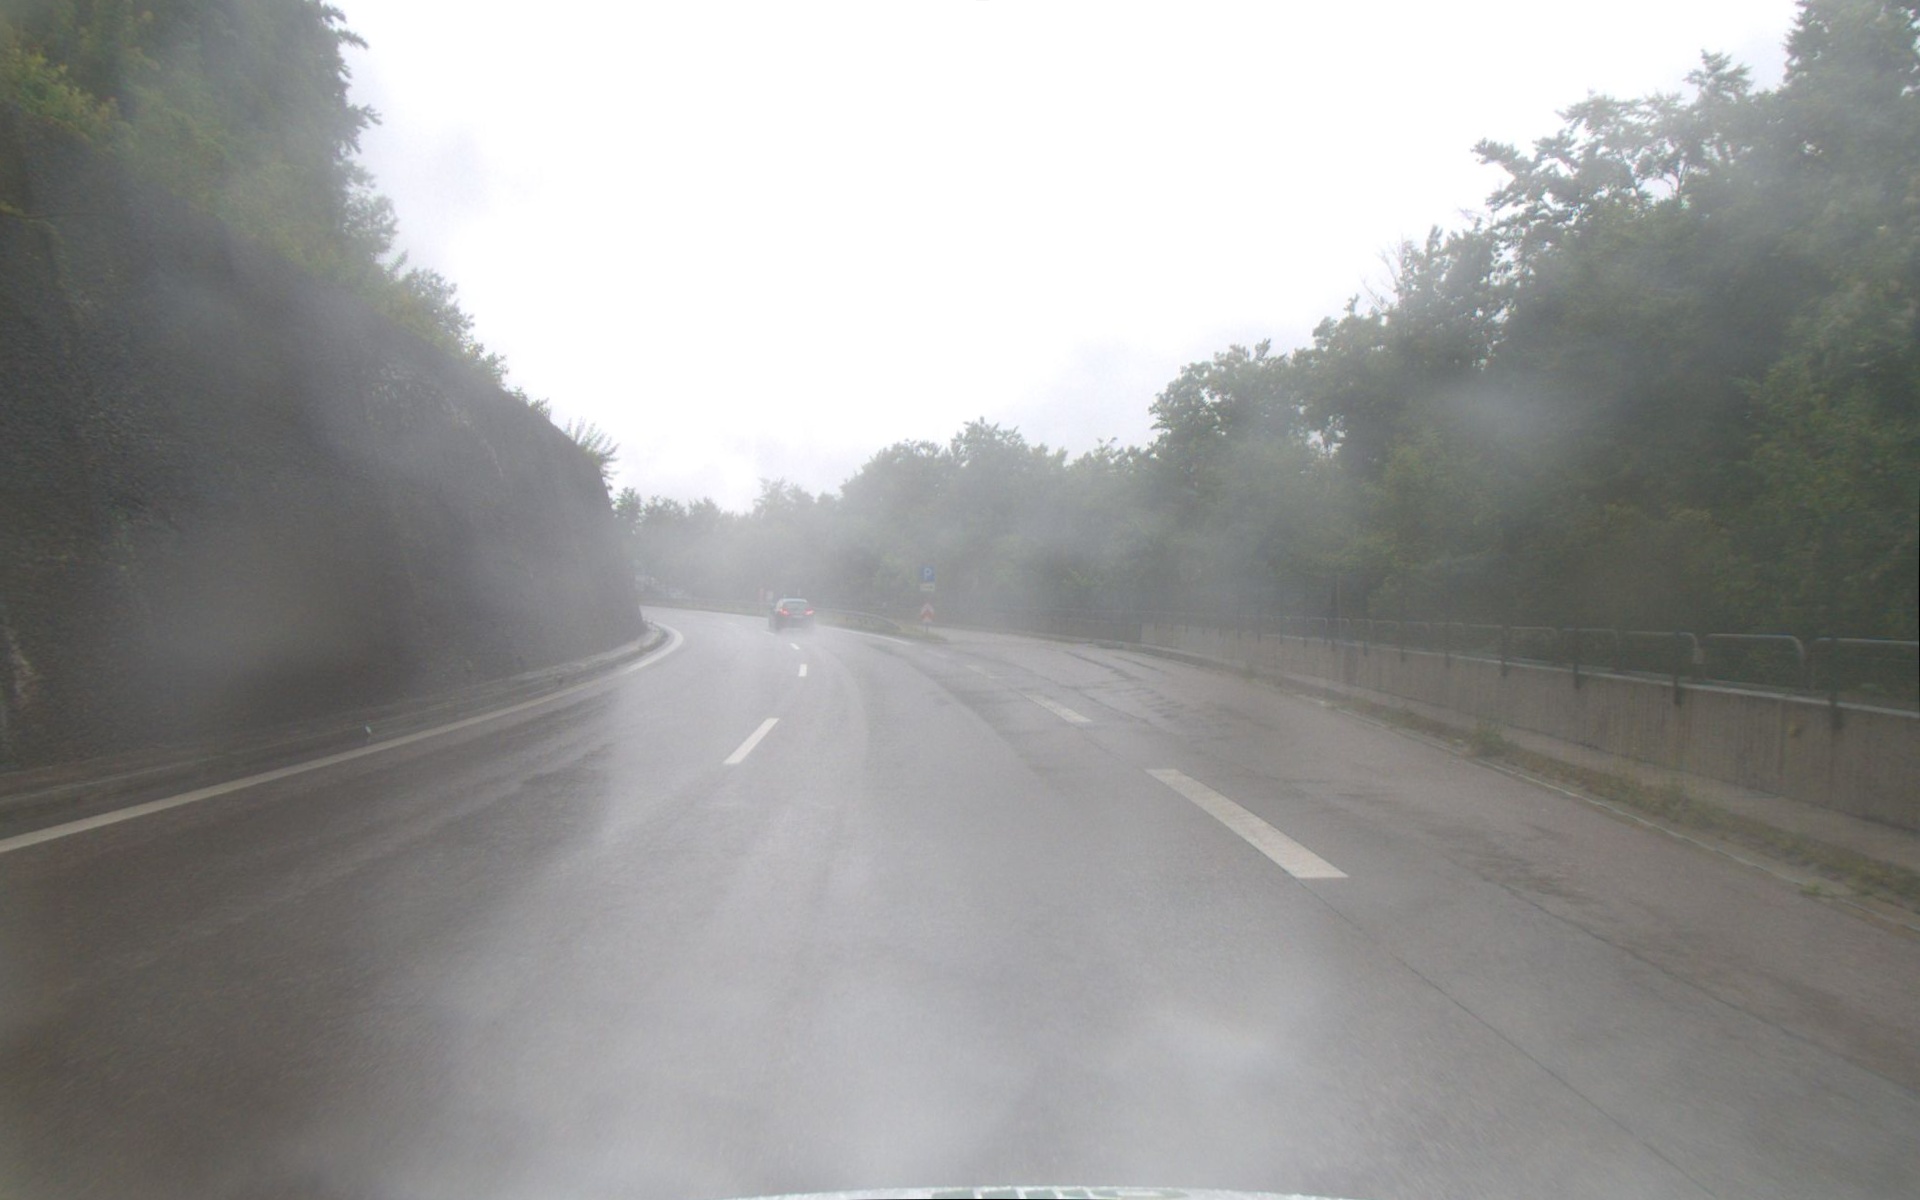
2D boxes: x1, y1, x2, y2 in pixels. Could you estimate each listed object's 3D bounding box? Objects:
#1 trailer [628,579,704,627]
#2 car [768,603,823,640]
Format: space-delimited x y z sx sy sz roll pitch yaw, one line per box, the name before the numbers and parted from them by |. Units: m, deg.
trailer | -28.050 0.158 156.923 2.859 4.319 14.565 1 0 -27
car | -7.562 0.982 75.717 1.872 1.525 3.985 3 0 -15
